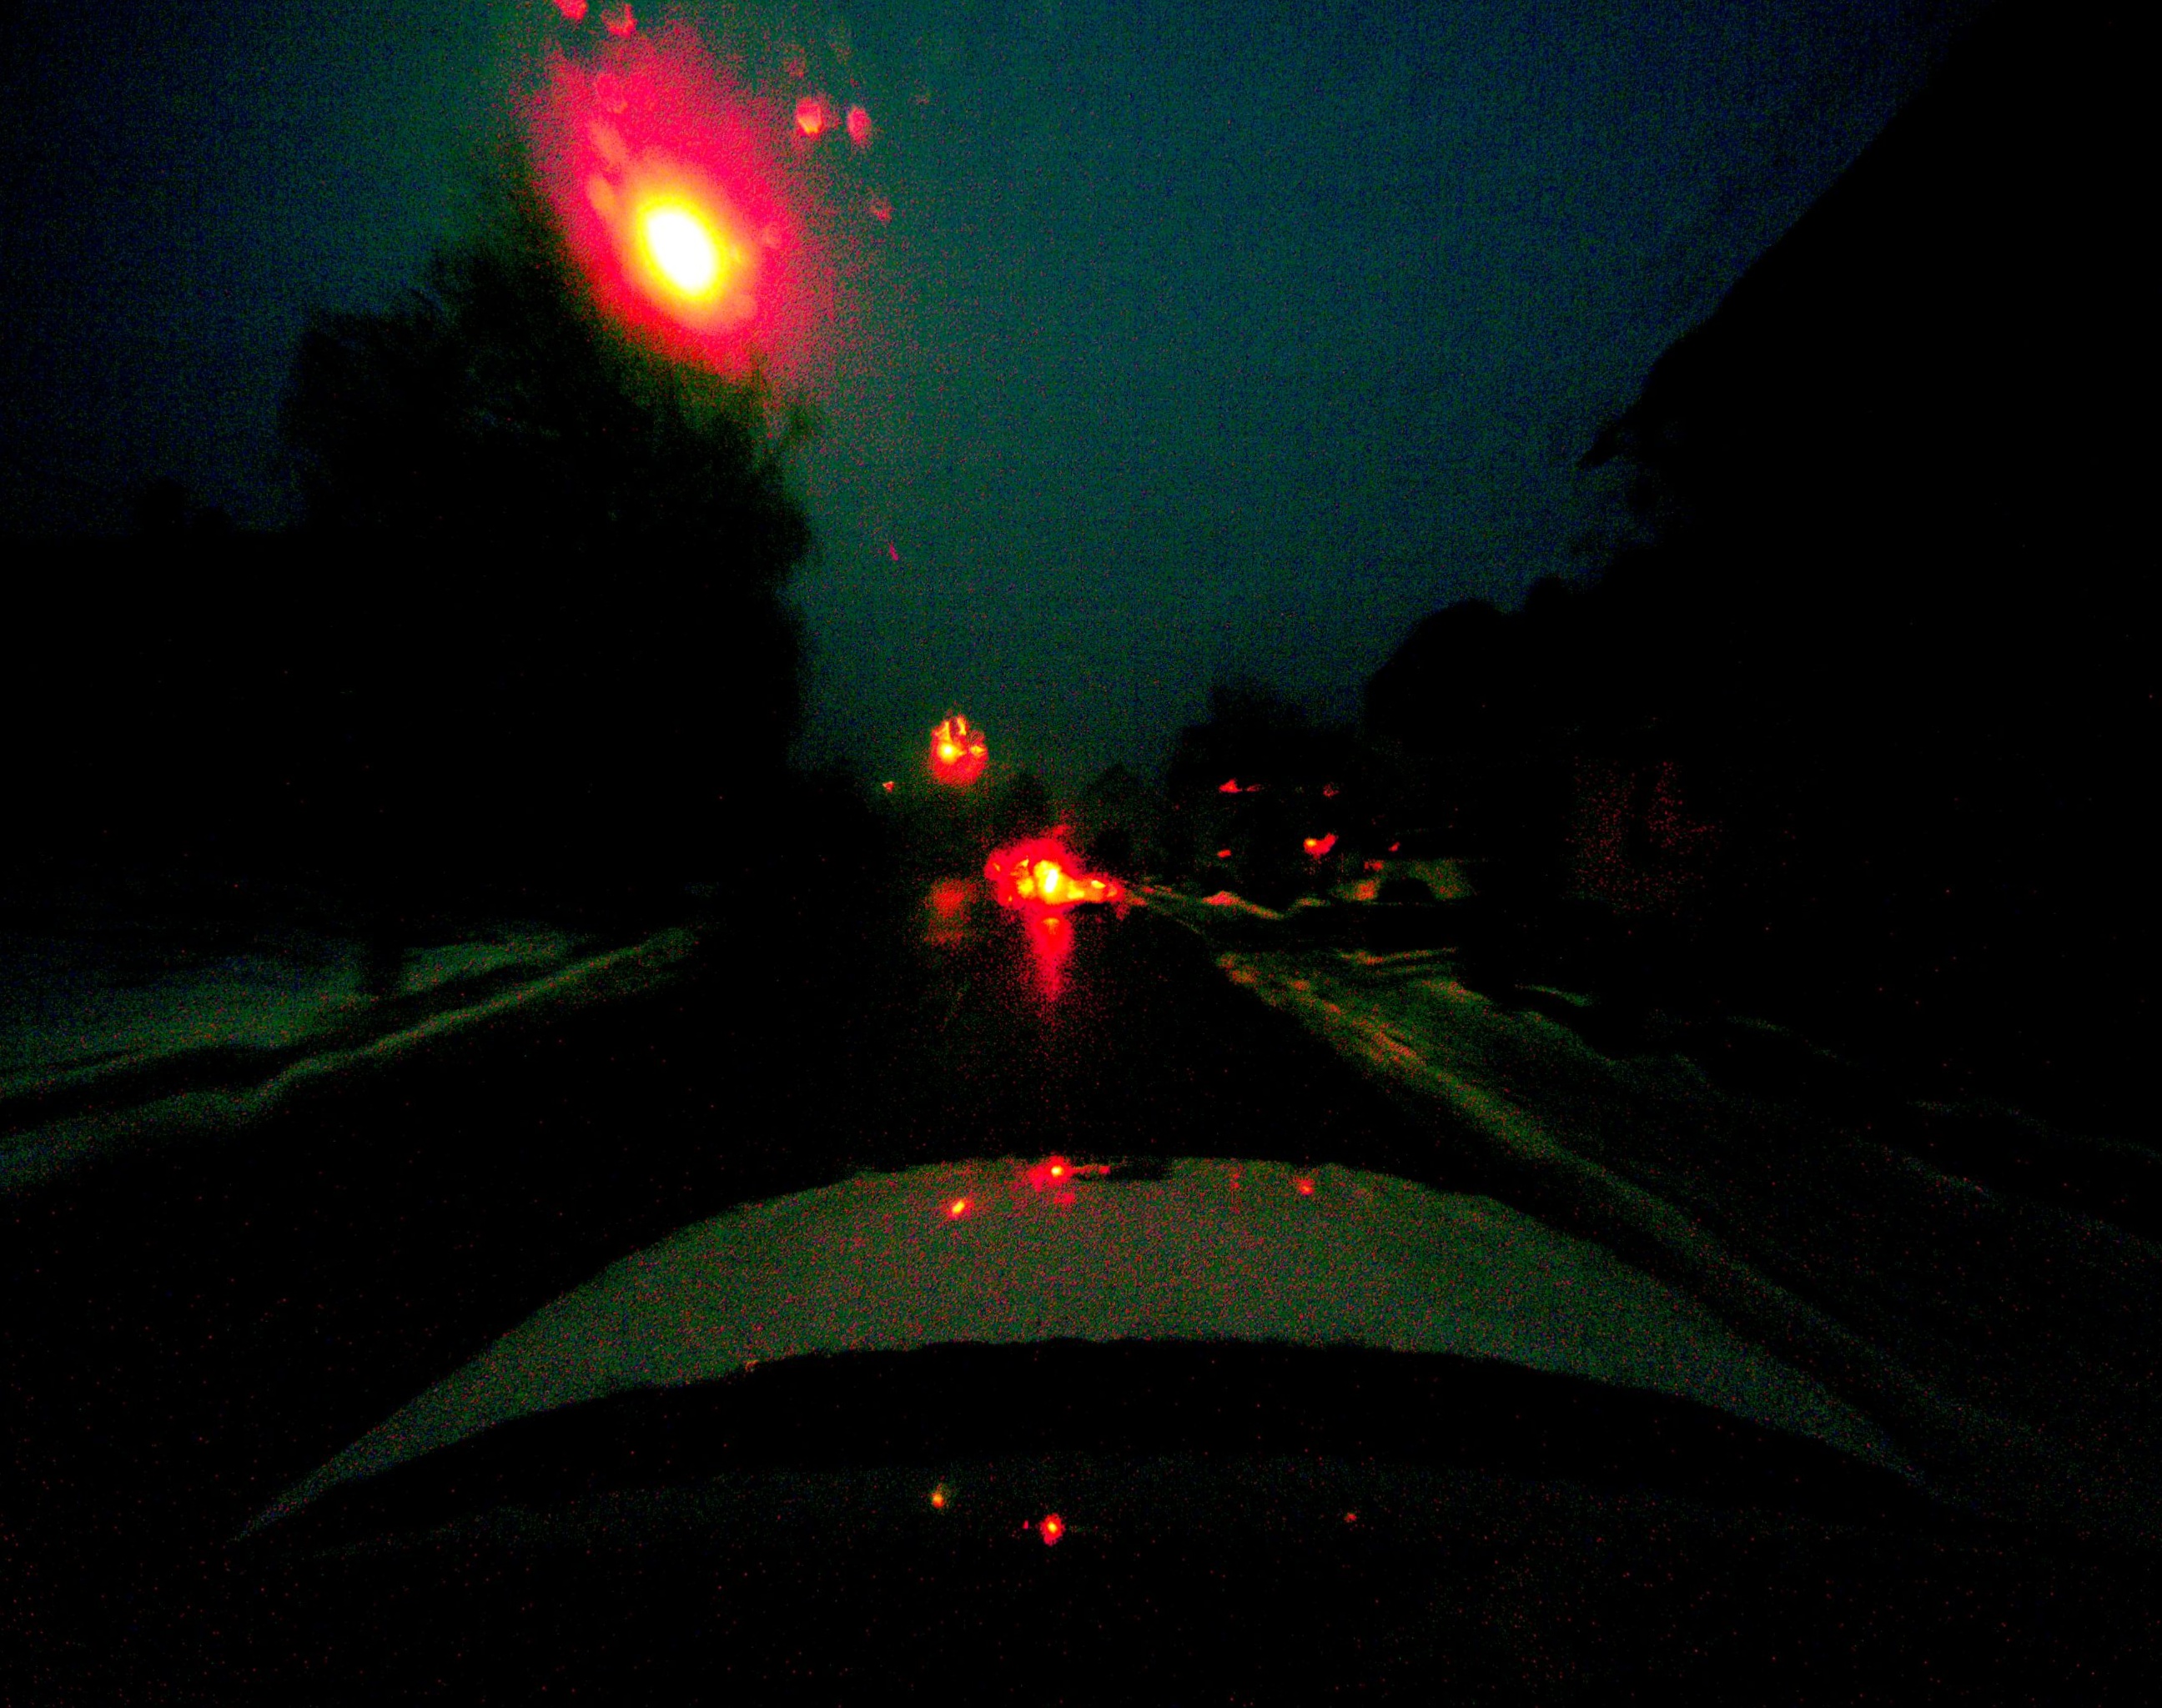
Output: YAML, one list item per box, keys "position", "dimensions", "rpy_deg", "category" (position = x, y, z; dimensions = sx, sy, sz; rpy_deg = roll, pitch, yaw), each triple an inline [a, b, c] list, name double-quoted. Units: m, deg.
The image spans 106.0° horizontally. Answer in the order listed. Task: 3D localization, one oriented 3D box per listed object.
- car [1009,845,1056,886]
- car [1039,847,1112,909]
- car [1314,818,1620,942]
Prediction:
- position: [-2.287, 0.524, 37.513]
  dimensions: [1.991, 1.737, 3.870]
  rpy_deg: [-1, -1, -6]
  category: "car"
- position: [-0.162, 0.644, 23.304]
  dimensions: [1.892, 1.609, 3.998]
  rpy_deg: [-1, -1, -1]
  category: "car"
- position: [6.181, 0.427, 13.500]
  dimensions: [4.184, 1.858, 1.915]
  rpy_deg: [-1, -1, 6]
  category: "car"
